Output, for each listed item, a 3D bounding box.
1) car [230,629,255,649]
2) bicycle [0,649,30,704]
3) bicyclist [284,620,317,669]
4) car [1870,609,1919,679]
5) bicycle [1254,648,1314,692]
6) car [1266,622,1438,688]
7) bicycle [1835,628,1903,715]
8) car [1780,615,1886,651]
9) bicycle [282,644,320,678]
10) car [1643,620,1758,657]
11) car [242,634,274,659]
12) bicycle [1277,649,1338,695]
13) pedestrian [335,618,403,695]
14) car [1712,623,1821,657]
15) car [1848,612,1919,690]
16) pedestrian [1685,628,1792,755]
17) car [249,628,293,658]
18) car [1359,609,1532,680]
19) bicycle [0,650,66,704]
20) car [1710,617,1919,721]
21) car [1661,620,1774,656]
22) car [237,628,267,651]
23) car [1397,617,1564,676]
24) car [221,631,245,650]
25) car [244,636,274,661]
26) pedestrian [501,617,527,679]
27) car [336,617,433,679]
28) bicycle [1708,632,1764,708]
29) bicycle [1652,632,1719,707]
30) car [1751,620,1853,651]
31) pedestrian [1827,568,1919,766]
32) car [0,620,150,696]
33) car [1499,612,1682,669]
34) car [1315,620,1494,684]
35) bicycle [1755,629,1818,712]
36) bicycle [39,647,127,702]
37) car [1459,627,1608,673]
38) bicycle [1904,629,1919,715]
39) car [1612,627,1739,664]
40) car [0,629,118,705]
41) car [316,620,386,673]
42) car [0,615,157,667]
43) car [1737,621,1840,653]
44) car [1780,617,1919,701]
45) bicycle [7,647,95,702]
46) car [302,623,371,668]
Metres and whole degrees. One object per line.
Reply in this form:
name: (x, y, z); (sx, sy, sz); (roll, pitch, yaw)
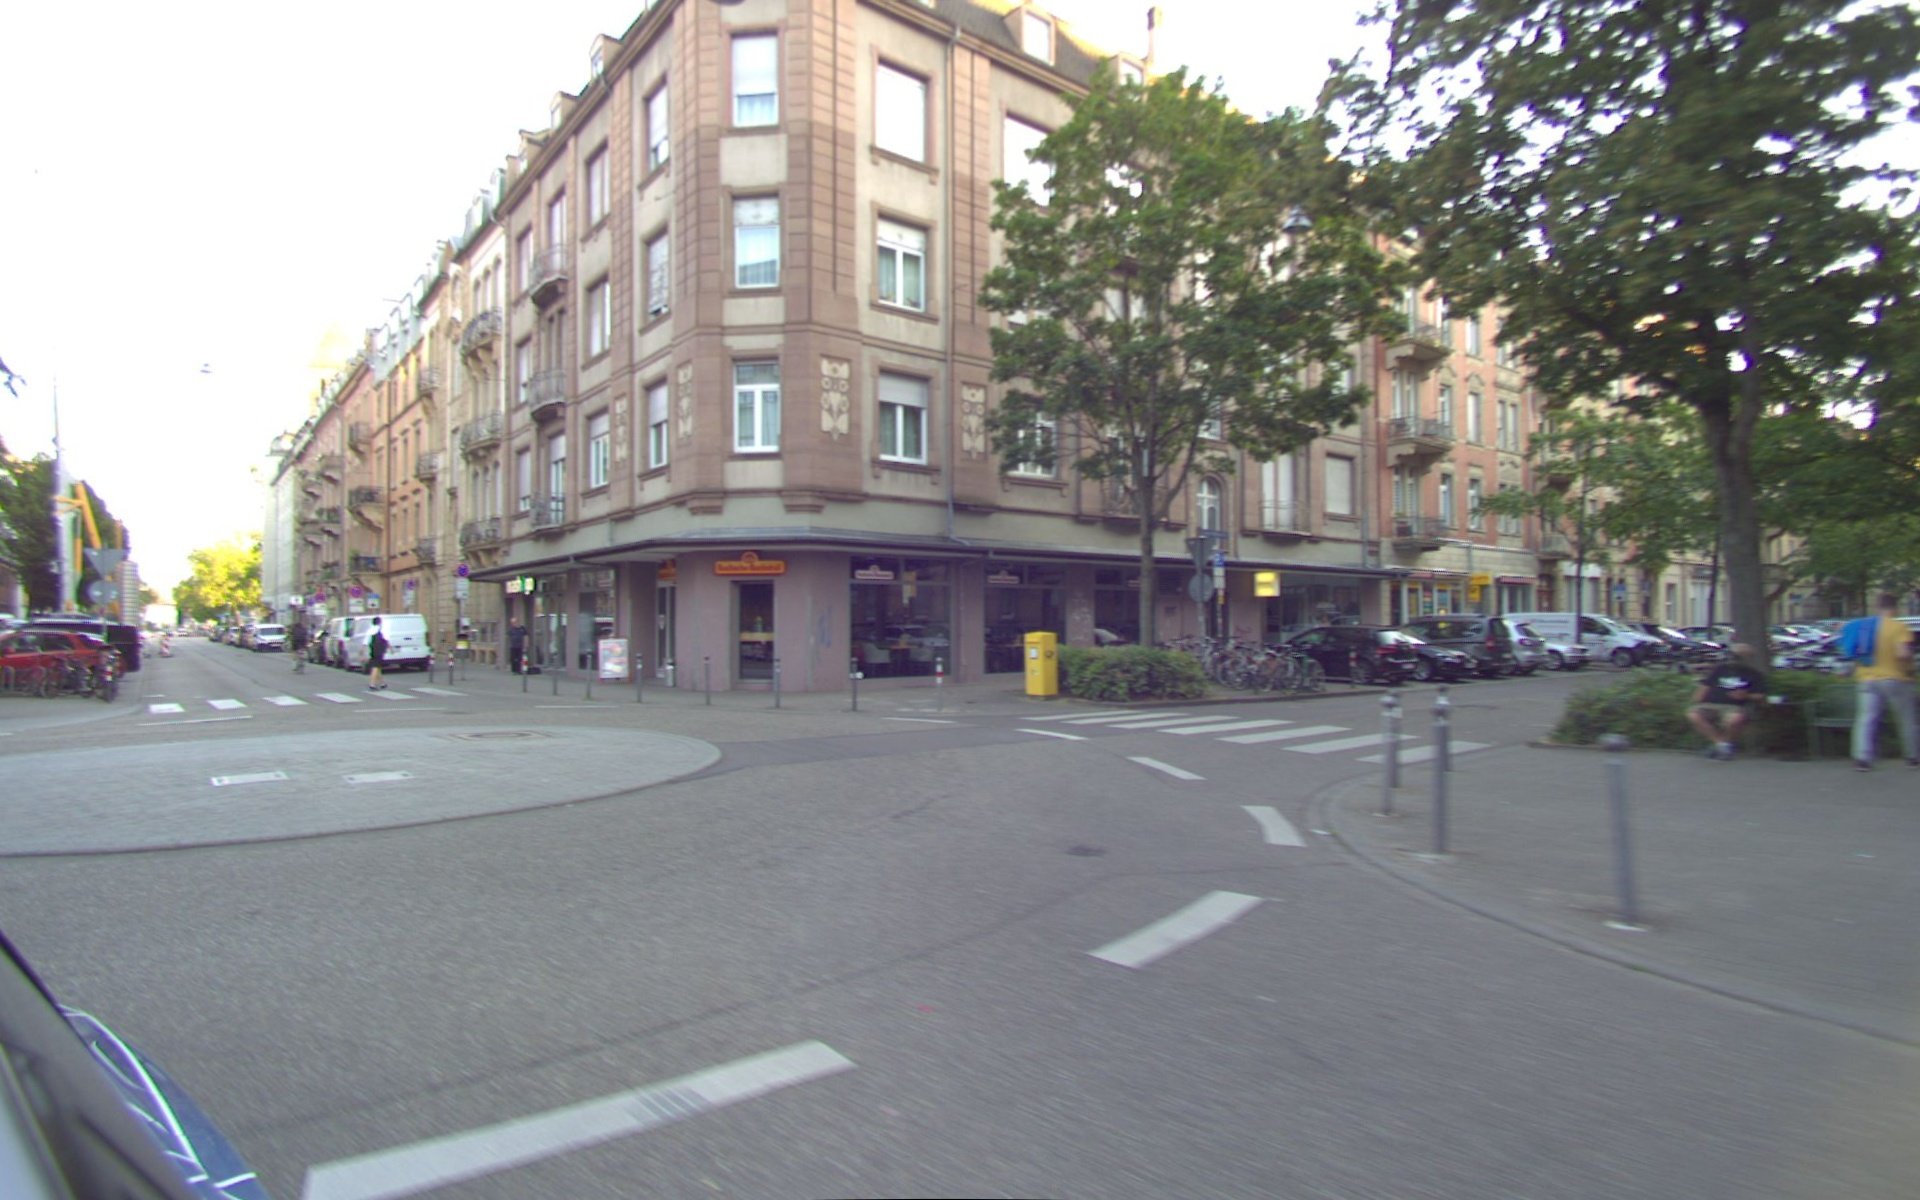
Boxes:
car: (-66.629, 3.609, 94.016); (1.839, 1.752, 3.809); (0, 0, -35)
bicycle: (-21.105, 1.621, 21.867); (2.103, 1.140, 0.660); (0, -3, 24)
bicyclist: (-22.978, 1.550, 35.257); (0.743, 1.653, 1.202); (1, -3, -44)
car: (26.452, 1.142, 25.875); (1.946, 1.814, 4.482); (0, 0, -39)
bicycle: (7.184, 1.543, 22.440); (1.465, 0.902, 0.478); (0, 0, -35)
car: (9.792, 1.335, 25.495); (1.694, 1.488, 3.694); (2, -2, -39)
bicycle: (14.002, 1.073, 15.620); (0.687, 1.228, 1.787); (-4, -3, 41)
car: (47.836, 1.773, 55.498); (1.966, 1.799, 4.011); (0, 0, -34)
bicycle: (-22.921, 2.098, 35.197); (0.743, 1.139, 1.977); (1, -3, -44)
car: (32.587, 1.668, 44.604); (1.693, 1.519, 3.819); (2, -2, -39)
car: (-54.217, 3.548, 78.136); (1.967, 1.752, 4.010); (0, 0, -35)
bicycle: (7.518, 1.548, 21.887); (1.465, 0.902, 0.478); (0, 0, -35)
pedestrian: (-14.003, 1.319, 24.004); (0.742, 1.757, 1.207); (-1, -1, 16)
car: (38.471, 1.871, 48.352); (1.693, 1.519, 3.819); (2, -2, -39)
car: (23.773, 1.195, 23.499); (1.946, 1.814, 4.482); (0, 0, -39)
pedestrian: (8.521, 0.985, 11.085); (0.780, 1.315, 0.736); (2, -5, -43)
car: (-45.389, 2.810, 66.613); (2.108, 1.835, 4.549); (0, -1, -38)
car: (13.758, 1.210, 28.846); (1.968, 1.852, 4.008); (2, -2, -39)
bicycle: (-20.881, 1.688, 22.489); (2.103, 1.140, 0.660); (0, -3, 24)
car: (16.003, 1.150, 17.559); (1.860, 1.637, 4.482); (0, 0, -39)
car: (34.280, 1.705, 45.896); (1.693, 1.519, 3.819); (2, -2, -39)
car: (-57.278, 3.160, 81.880); (1.967, 1.752, 4.010); (0, 0, -35)
car: (15.433, 1.331, 30.145); (1.878, 1.586, 4.008); (2, -2, -39)
car: (-70.462, 3.890, 98.086); (1.878, 1.752, 3.859); (0, 0, -35)
car: (-51.837, 3.574, 74.811); (1.811, 1.654, 3.935); (0, 0, -35)
pedestrian: (-13.311, 1.432, 30.198); (0.644, 1.792, 0.694); (-1, -2, -21)
car: (-20.015, 1.617, 35.096); (2.109, 1.973, 4.777); (0, -1, -40)
bicycle: (12.769, 1.128, 16.639); (0.585, 1.166, 1.783); (-4, -4, 41)
bicycle: (12.310, 1.155, 17.147); (0.706, 1.185, 1.926); (-4, -4, 41)
car: (43.654, 1.820, 52.507); (1.693, 1.519, 3.819); (2, -2, -39)
pedestrian: (8.943, 0.627, 9.680); (0.775, 1.805, 0.759); (0, -4, -41)
car: (-28.248, 1.725, 30.897); (2.106, 2.113, 5.101); (0, 0, 26)
car: (22.192, 1.366, 35.826); (2.083, 1.844, 5.121); (2, -1, -35)
car: (11.803, 1.337, 27.055); (1.823, 1.522, 4.006); (2, -2, -40)
bicycle: (13.289, 1.105, 16.254); (0.687, 1.212, 1.787); (-4, -3, 41)
bicycle: (-20.286, 1.707, 23.408); (2.103, 1.178, 0.660); (0, -3, 24)
car: (18.333, 1.560, 32.461); (1.693, 1.322, 3.819); (2, -2, -39)
bicycle: (14.490, 1.028, 14.931); (0.687, 1.193, 1.787); (-4, -3, 41)
car: (28.338, 1.780, 40.165); (1.693, 1.322, 3.819); (2, -2, -39)
car: (-23.044, 1.603, 24.313); (1.814, 1.680, 3.973); (0, 0, 20)
car: (-23.900, 1.785, 39.656); (1.850, 1.918, 4.335); (0, -1, -38)
car: (-40.776, 1.834, 46.900); (2.326, 2.211, 5.101); (0, 0, 26)
car: (42.066, 1.848, 51.455); (1.693, 1.519, 3.819); (2, -2, -39)
car: (19.951, 1.199, 20.831); (1.860, 1.637, 4.482); (0, 0, -39)
bicycle: (-20.800, 1.687, 23.158); (2.103, 1.178, 0.660); (0, -3, 24)
car: (-27.410, 1.962, 44.437); (2.108, 1.835, 4.549); (0, -1, -38)
